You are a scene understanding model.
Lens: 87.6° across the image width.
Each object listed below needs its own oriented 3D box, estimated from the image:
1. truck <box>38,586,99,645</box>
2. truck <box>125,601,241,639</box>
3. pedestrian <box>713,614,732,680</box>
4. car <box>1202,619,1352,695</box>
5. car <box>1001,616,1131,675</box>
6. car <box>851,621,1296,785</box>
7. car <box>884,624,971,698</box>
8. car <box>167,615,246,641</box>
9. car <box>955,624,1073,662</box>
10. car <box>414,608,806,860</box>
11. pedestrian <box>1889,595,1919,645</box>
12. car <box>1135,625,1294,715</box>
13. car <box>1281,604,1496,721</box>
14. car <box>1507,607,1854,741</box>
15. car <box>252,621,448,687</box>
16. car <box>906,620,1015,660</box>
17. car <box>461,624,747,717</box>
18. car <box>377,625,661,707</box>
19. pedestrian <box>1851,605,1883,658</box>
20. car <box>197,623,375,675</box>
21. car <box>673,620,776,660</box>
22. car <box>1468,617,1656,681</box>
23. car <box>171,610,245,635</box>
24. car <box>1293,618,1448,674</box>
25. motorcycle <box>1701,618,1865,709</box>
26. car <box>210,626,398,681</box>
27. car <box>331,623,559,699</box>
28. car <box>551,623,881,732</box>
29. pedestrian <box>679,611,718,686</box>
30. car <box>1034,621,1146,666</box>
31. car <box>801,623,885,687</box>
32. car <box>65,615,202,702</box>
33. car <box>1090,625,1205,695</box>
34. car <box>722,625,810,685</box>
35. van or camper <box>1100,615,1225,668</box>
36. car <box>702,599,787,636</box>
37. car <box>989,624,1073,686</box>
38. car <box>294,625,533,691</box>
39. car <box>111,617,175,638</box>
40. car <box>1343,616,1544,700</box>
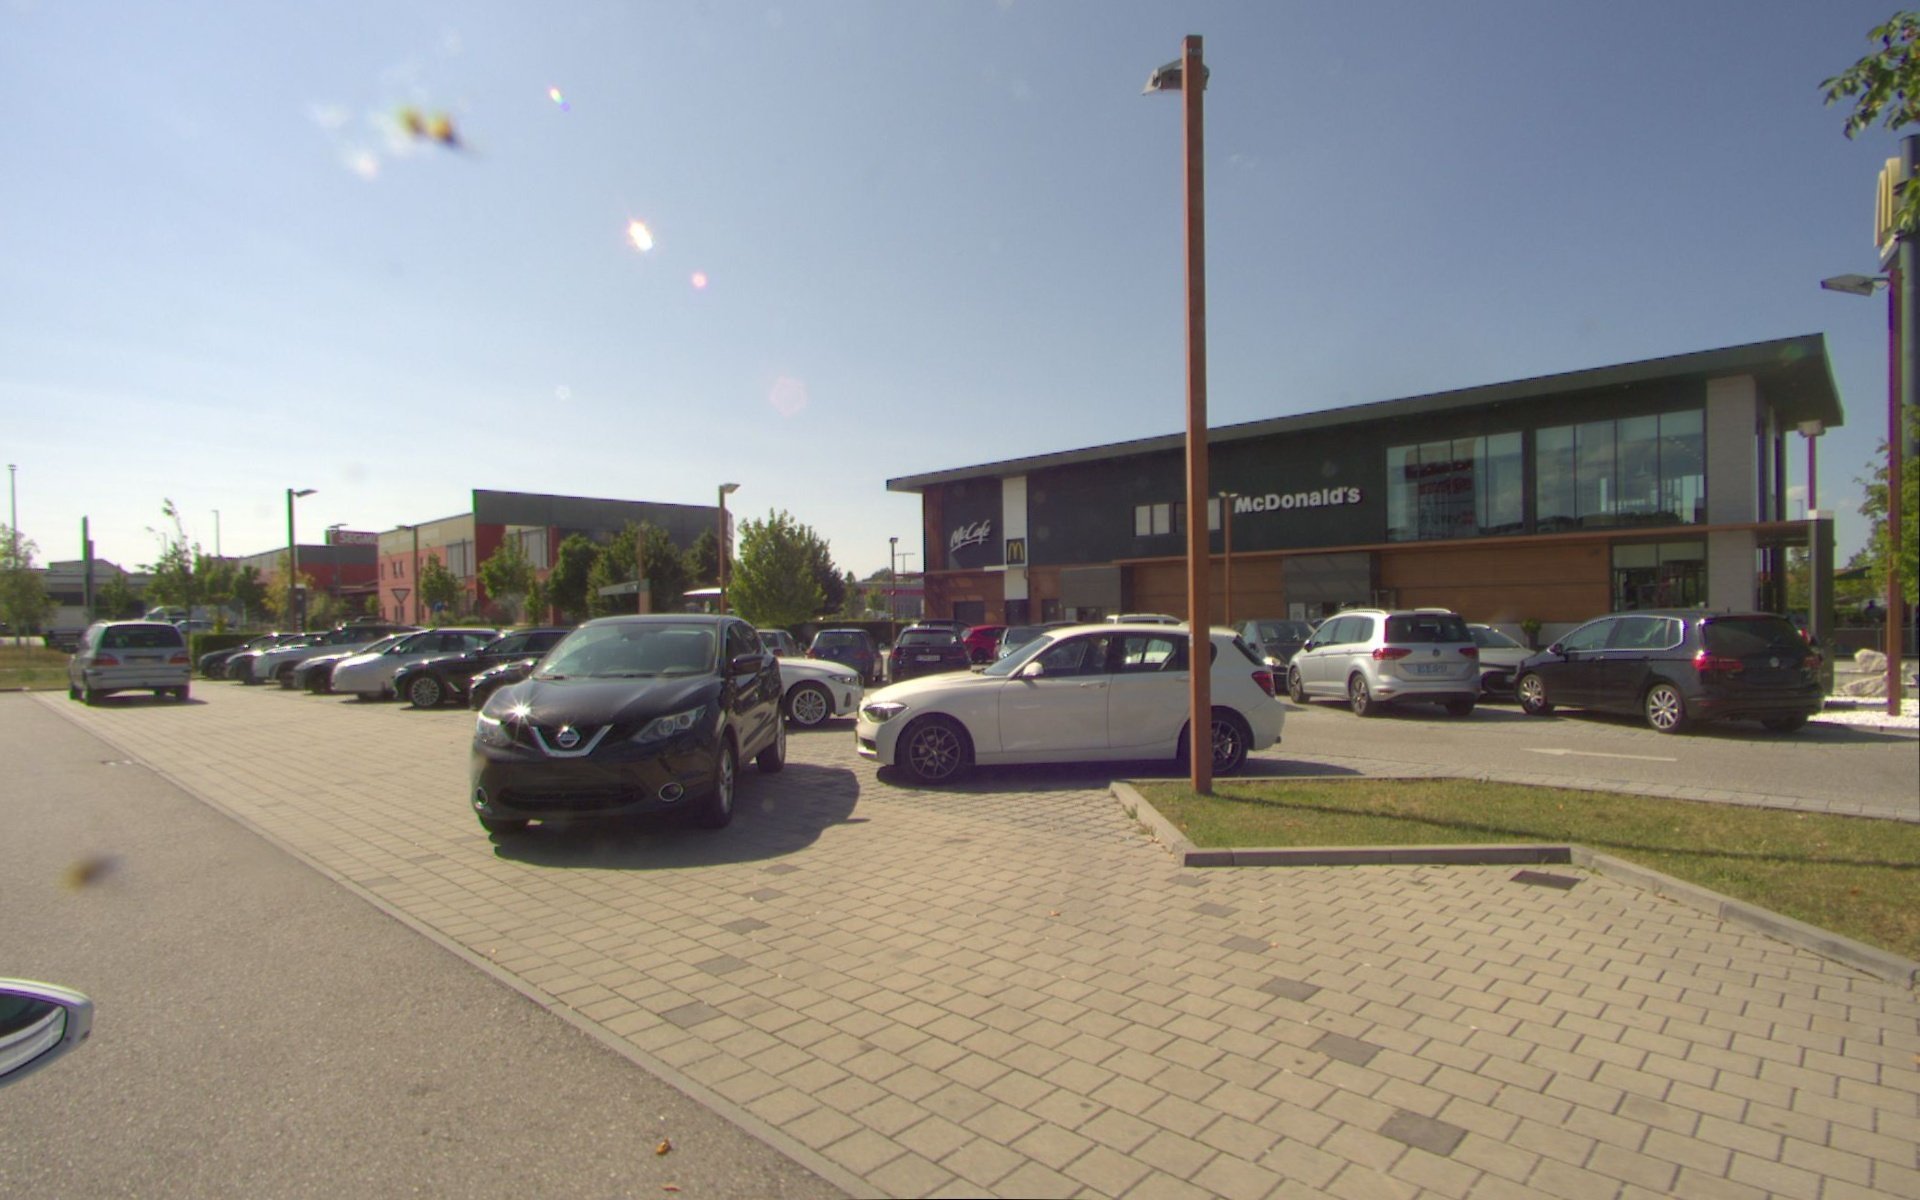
[{"bbox_3d":[-55.874,1.022,62.893,2.739,3.525,6.773,1,-1,-41],"label":"truck"},{"bbox_3d":[-60.832,1.555,78.528,1.935,2.851,6.997,-1,-1,43],"label":"truck"},{"bbox_3d":[-6.512,1.279,27.462,0.458,1.791,0.552,0,-1,-9],"label":"pedestrian"},{"bbox_3d":[7.017,1.219,22.727,1.859,1.506,4.646,-1,-1,-1],"label":"car"},{"bbox_3d":[3.363,1.426,32.226,3.910,1.798,1.642,-1,-1,39],"label":"car"},{"bbox_3d":[1.000,0.954,10.146,4.126,1.478,1.976,0,-1,-4],"label":"car"},{"bbox_3d":[-0.704,1.303,22.744,1.778,1.506,4.281,-1,-1,-1],"label":"car"},{"bbox_3d":[-55.056,2.047,73.223,1.935,1.879,4.367,-1,-2,43],"label":"car"},{"bbox_3d":[2.119,1.681,39.777,4.383,1.484,1.961,0,-1,-10],"label":"car"},{"bbox_3d":[-2.564,0.882,8.538,1.821,1.611,4.304,0,-1,0],"label":"car"},{"bbox_3d":[30.739,0.645,32.433,0.709,1.580,0.701,0,-1,15],"label":"pedestrian"},{"bbox_3d":[4.453,1.175,18.188,1.778,1.431,4.116,-1,-1,-1],"label":"car"},{"bbox_3d":[6.969,0.968,16.792,1.778,1.696,4.116,-1,-1,-1],"label":"car"},{"bbox_3d":[9.573,0.914,13.779,1.721,1.572,4.001,0,-1,-4],"label":"car"},{"bbox_3d":[-16.340,1.419,27.082,4.133,1.676,1.972,0,-1,-17],"label":"car"},{"bbox_3d":[-0.015,1.678,42.260,4.382,1.623,1.962,0,-1,-7],"label":"car"},{"bbox_3d":[-5.906,1.147,17.077,4.286,1.478,1.836,0,-1,-6],"label":"car"},{"bbox_3d":[-8.474,1.250,19.623,4.691,1.506,1.976,0,-1,-5],"label":"car"},{"bbox_3d":[27.533,0.939,30.407,0.694,1.580,0.715,-1,0,44],"label":"pedestrian"},{"bbox_3d":[-21.184,1.526,31.623,4.248,1.546,1.975,0,0,-2],"label":"car"},{"bbox_3d":[-10.550,1.759,45.072,1.973,1.713,4.205,0,-1,39],"label":"car"},{"bbox_3d":[15.830,1.262,26.437,3.958,1.634,1.717,0,-1,-3],"label":"car"},{"bbox_3d":[-58.167,1.758,77.517,1.935,1.879,4.367,-1,-2,43],"label":"car"},{"bbox_3d":[12.316,1.361,30.207,3.958,1.634,1.717,0,-1,-3],"label":"car"},{"bbox_3d":[12.940,0.958,15.850,0.750,1.341,2.161,0,-1,-2],"label":"motorcycle"},{"bbox_3d":[-19.022,1.528,29.237,4.128,1.546,1.975,0,-1,-10],"label":"car"},{"bbox_3d":[-11.099,1.285,21.940,4.133,1.546,1.972,0,-1,-17],"label":"car"},{"bbox_3d":[-3.434,1.087,14.810,4.496,1.478,1.837,0,-1,-5],"label":"car"},{"bbox_3d":[-6.729,1.228,25.752,0.760,1.873,0.829,0,-1,-34],"label":"pedestrian"},{"bbox_3d":[4.837,1.609,37.559,3.875,1.535,1.713,0,0,-7],"label":"car"},{"bbox_3d":[-3.002,1.393,26.529,1.778,1.535,4.116,-1,-1,-1],"label":"car"},{"bbox_3d":[-18.737,1.248,22.618,4.633,1.771,1.817,-2,-1,43],"label":"car"},{"bbox_3d":[4.428,1.372,24.341,1.859,1.506,4.646,-1,-1,-1],"label":"car"},{"bbox_3d":[-5.261,1.447,27.662,1.678,1.512,4.116,-1,-1,-1],"label":"car"},{"bbox_3d":[6.994,1.427,34.804,3.950,1.798,1.712,0,-1,-4],"label":"van or camper"},{"bbox_3d":[-13.633,1.134,63.455,1.979,2.225,5.060,-1,-2,44],"label":"car"},{"bbox_3d":[1.830,1.413,27.137,1.859,1.506,4.646,-1,-1,-1],"label":"car"},{"bbox_3d":[-13.284,1.386,24.629,4.754,1.546,1.975,0,-1,-9],"label":"car"},{"bbox_3d":[-74.861,2.533,91.750,1.935,1.879,4.367,-1,-2,43],"label":"car"},{"bbox_3d":[9.782,1.125,20.734,1.859,1.506,4.646,-1,-1,-1],"label":"car"}]
